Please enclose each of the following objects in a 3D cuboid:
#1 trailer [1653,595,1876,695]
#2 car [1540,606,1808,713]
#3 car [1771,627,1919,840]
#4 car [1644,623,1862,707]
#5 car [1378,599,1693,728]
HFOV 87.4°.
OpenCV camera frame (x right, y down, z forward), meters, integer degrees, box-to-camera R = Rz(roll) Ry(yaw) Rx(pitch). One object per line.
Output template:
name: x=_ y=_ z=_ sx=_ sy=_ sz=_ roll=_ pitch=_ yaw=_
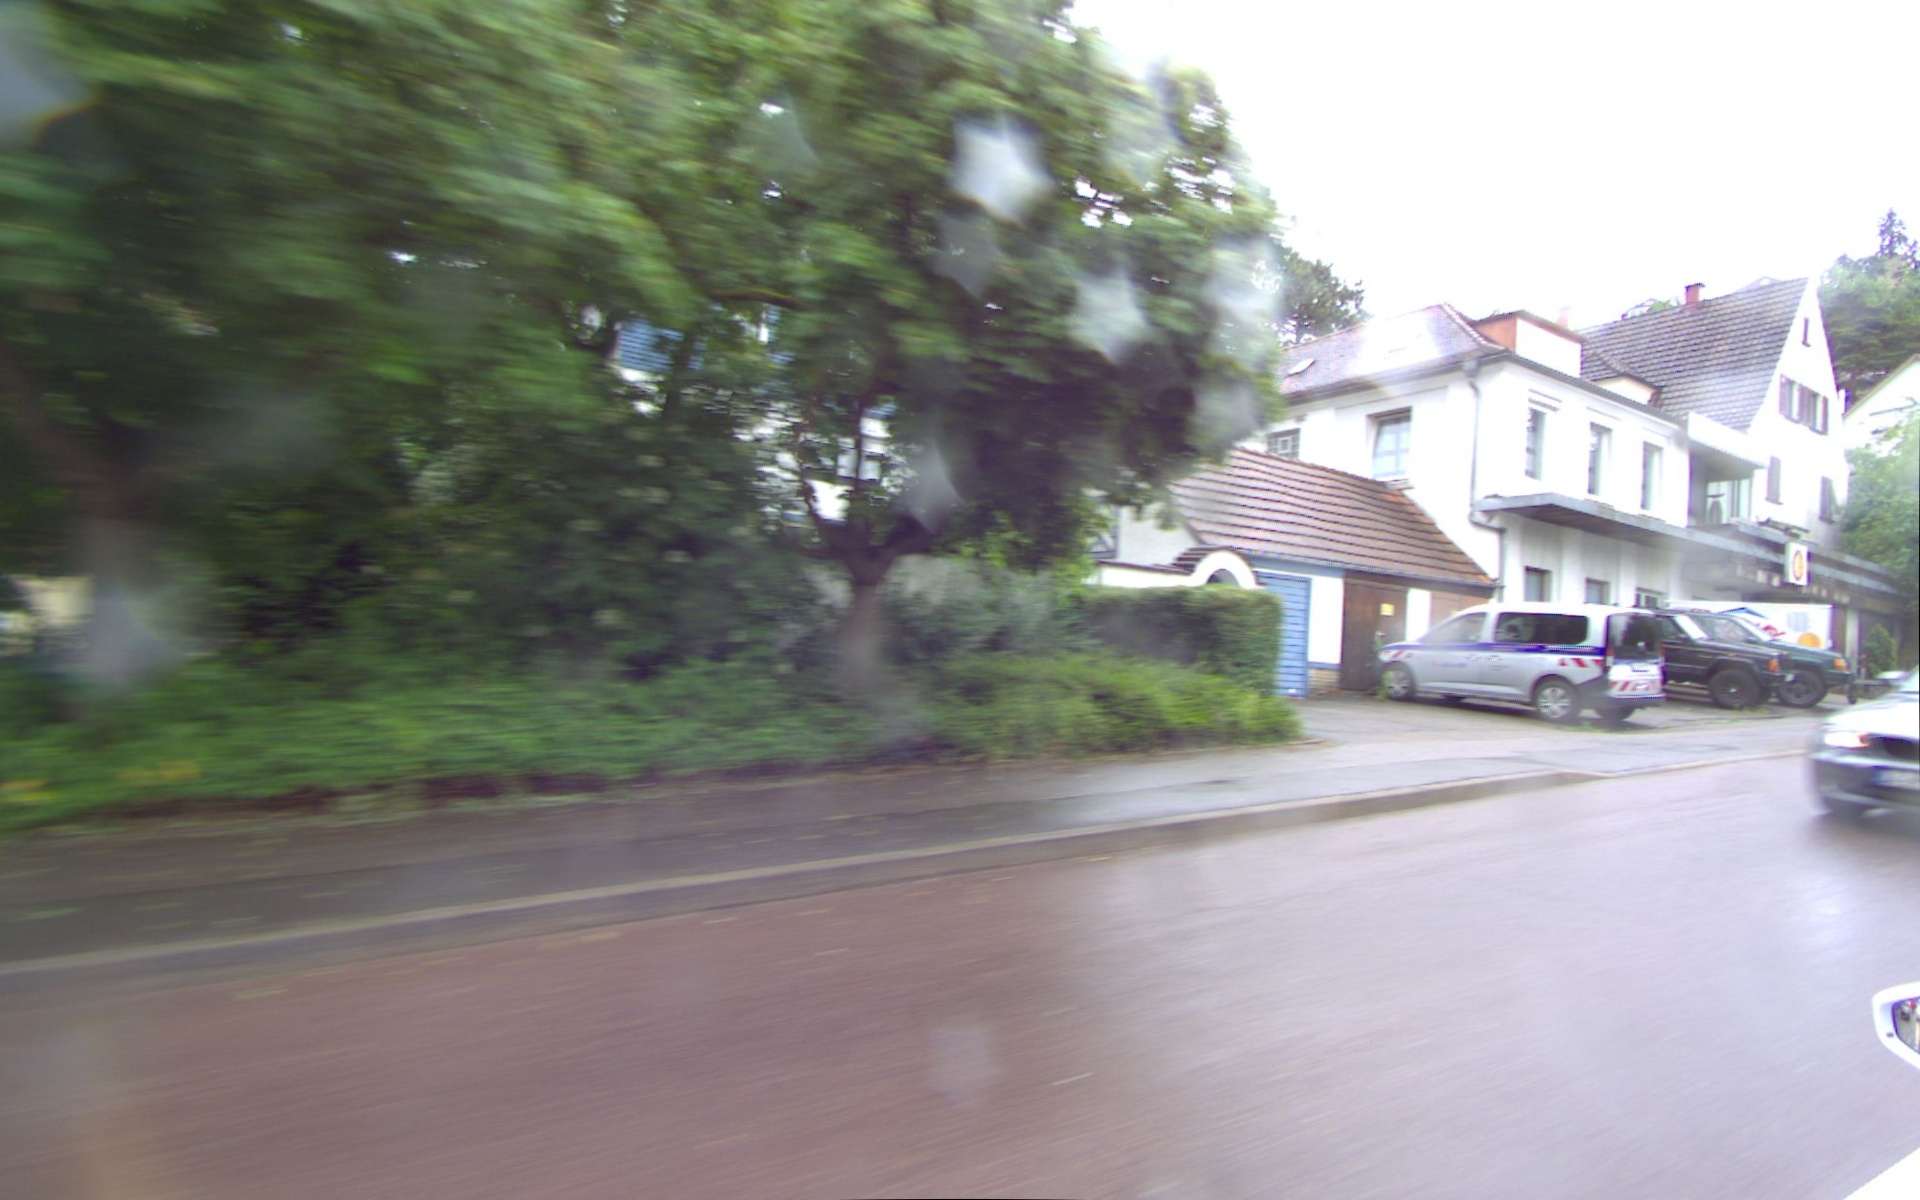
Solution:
trailer: x=18.543 y=1.010 z=23.399 sx=3.897 sy=2.130 sz=1.947 roll=-1 pitch=-3 yaw=37
car: x=14.128 y=1.086 z=20.056 sx=1.785 sy=1.798 sz=4.042 roll=2 pitch=0 yaw=-40
car: x=8.349 y=0.975 z=7.730 sx=3.848 sy=1.441 sz=1.813 roll=1 pitch=0 yaw=-26
car: x=16.477 y=1.279 z=20.949 sx=1.826 sy=1.505 sz=3.304 roll=1 pitch=0 yaw=-42
car: x=9.329 y=0.930 z=16.638 sx=1.976 sy=1.824 sz=4.088 roll=1 pitch=0 yaw=-29
